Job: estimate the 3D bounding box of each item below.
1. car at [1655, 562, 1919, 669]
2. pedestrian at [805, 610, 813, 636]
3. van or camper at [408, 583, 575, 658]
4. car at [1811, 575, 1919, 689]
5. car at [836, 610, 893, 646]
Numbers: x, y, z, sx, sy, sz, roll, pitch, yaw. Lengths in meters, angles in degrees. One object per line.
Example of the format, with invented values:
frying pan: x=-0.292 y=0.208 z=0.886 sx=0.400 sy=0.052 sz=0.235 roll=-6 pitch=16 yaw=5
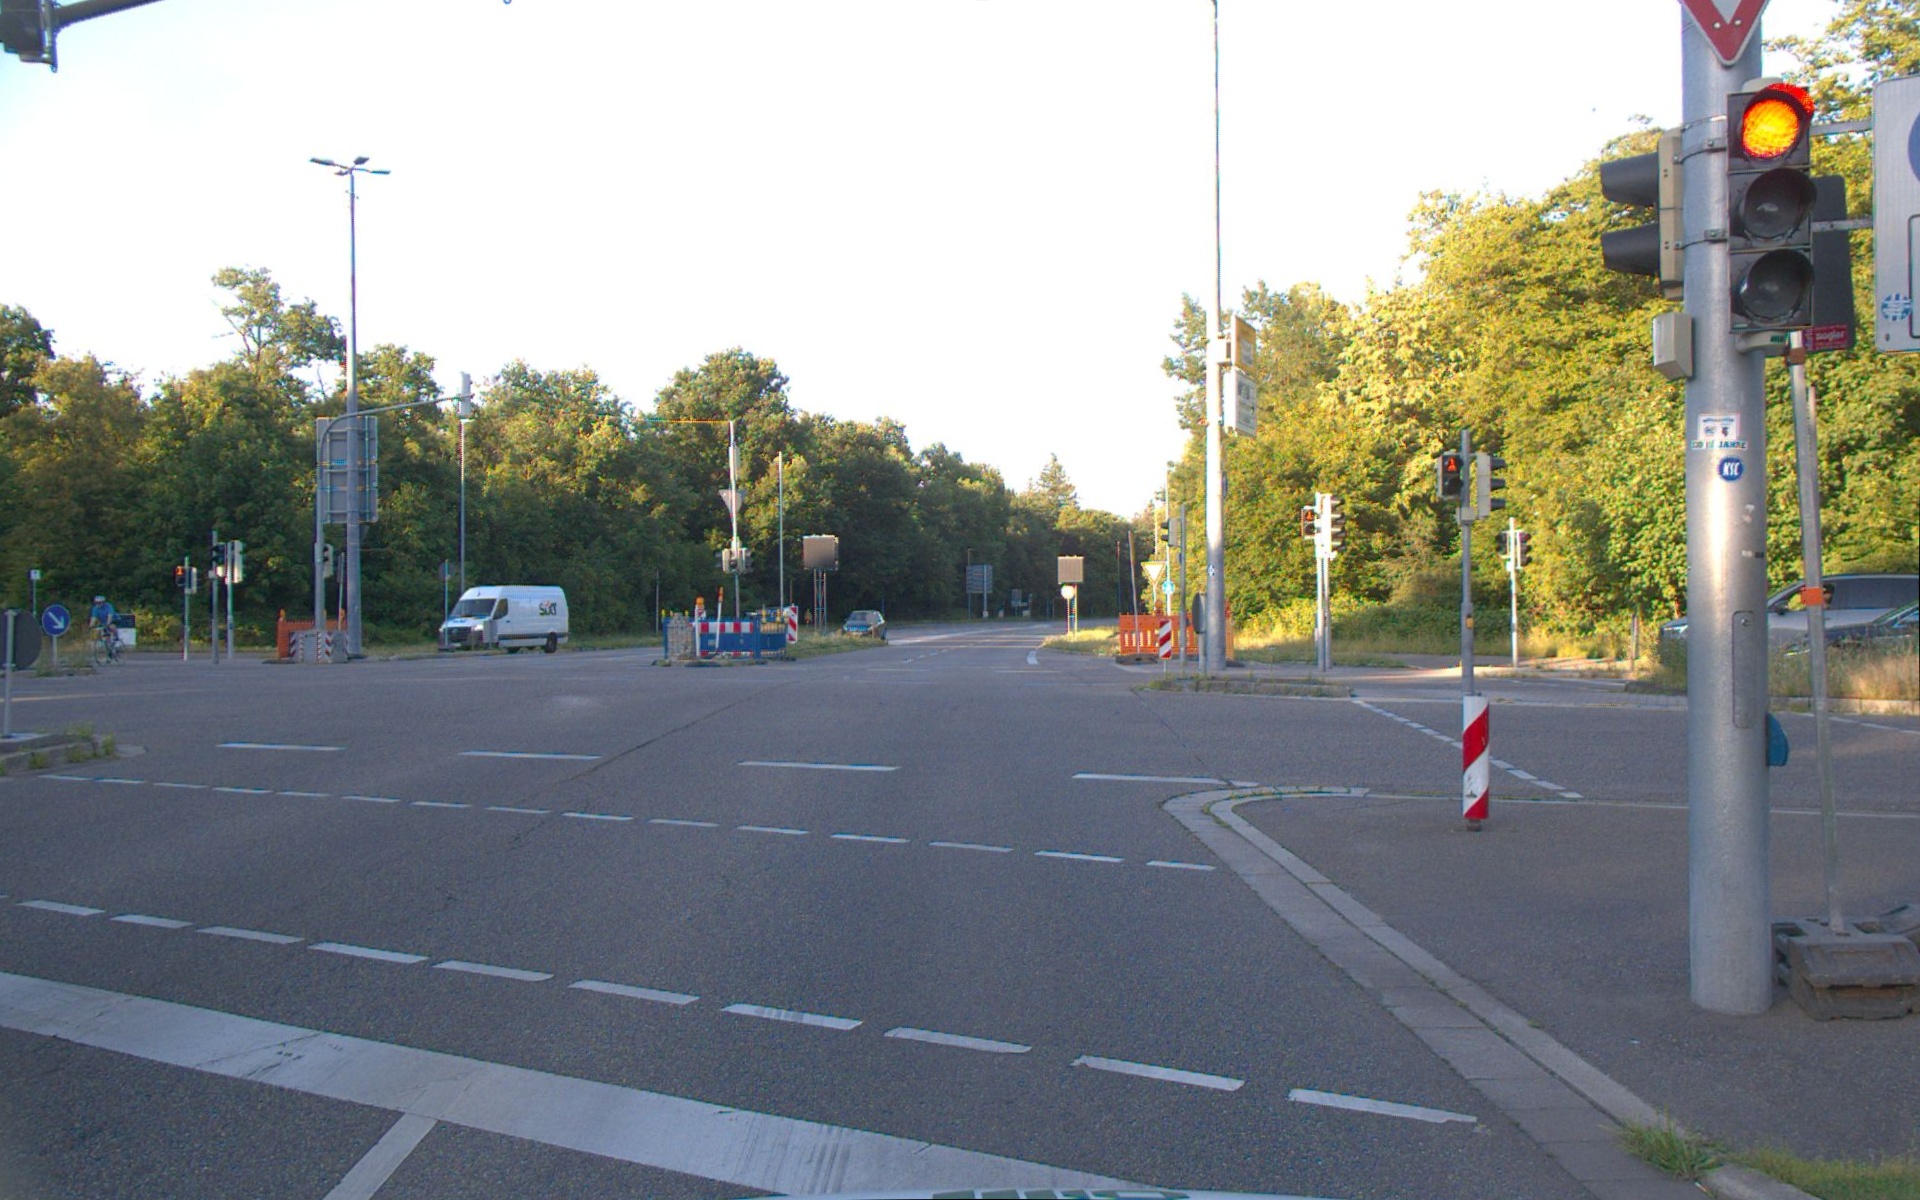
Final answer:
car: x=13.748 y=0.245 z=26.492 sx=4.716 sy=1.626 sz=2.000 roll=-1 pitch=0 yaw=21
pedestrian: x=-12.315 y=1.872 z=134.719 sx=0.511 sy=2.049 sz=0.600 roll=1 pitch=-1 yaw=-1
van or camper: x=-17.910 y=0.747 z=63.786 sx=2.824 sy=2.699 sz=7.126 roll=0 pitch=0 yaw=17
car: x=13.799 y=0.422 z=22.491 sx=3.783 sy=1.515 sz=1.771 roll=0 pitch=0 yaw=22
car: x=-4.929 y=1.418 z=85.839 sx=1.951 sy=1.668 sz=4.004 roll=-2 pitch=1 yaw=11
